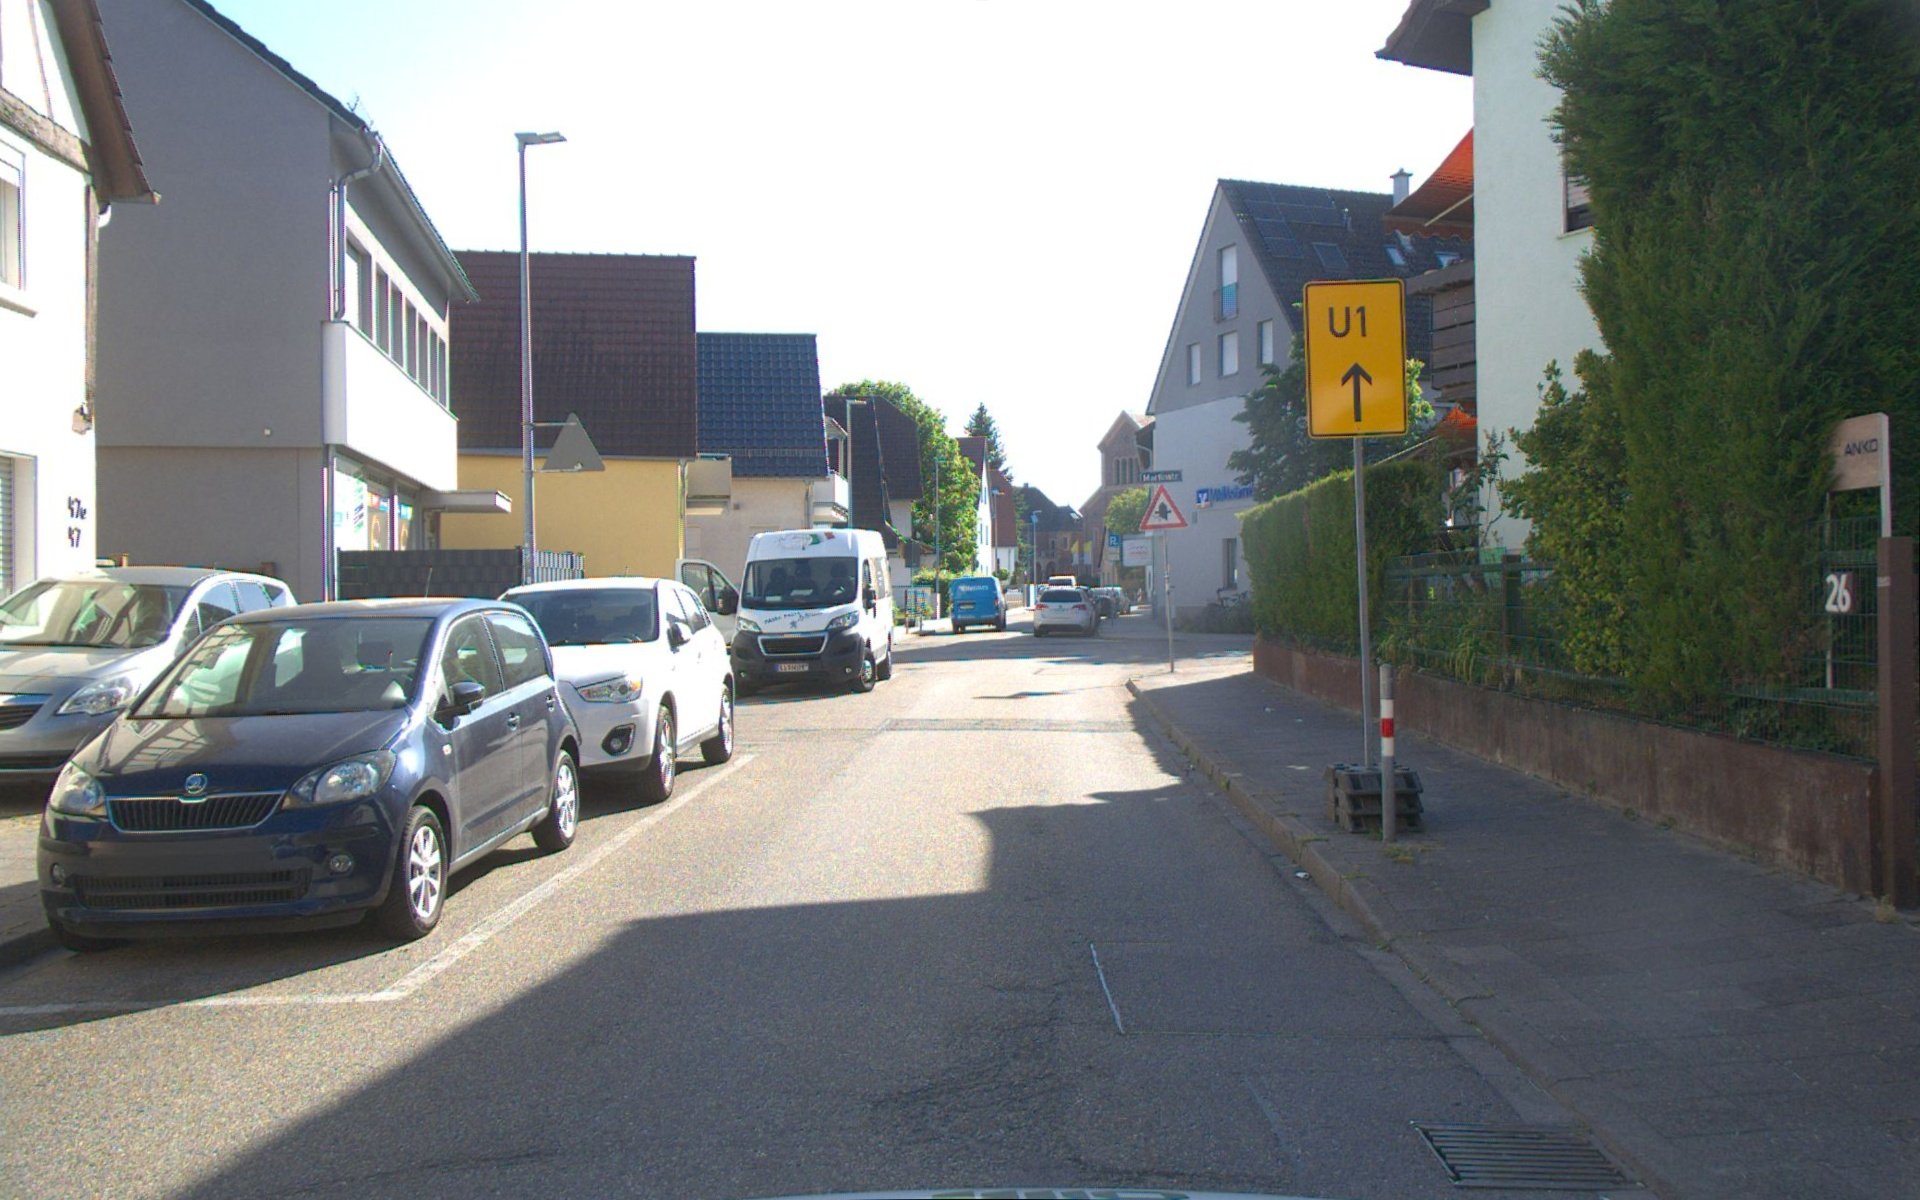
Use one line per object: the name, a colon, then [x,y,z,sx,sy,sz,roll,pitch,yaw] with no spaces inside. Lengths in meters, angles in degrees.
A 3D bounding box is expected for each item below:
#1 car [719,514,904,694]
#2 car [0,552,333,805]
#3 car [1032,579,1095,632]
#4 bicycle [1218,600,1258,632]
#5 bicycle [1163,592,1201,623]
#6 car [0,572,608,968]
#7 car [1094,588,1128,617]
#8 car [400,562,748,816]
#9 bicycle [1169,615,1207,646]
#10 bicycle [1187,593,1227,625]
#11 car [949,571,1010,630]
car: [-2.215,0.030,26.396,2.206,2.513,5.518,-2,0,2]
car: [-6.273,0.491,12.647,1.609,1.614,4.109,-1,0,-4]
car: [3.269,0.124,51.507,1.807,1.540,4.509,-1,1,5]
bicycle: [8.353,0.475,49.784,1.138,0.936,0.313,-2,0,3]
bicycle: [6.939,0.247,51.617,1.138,0.936,0.313,-1,0,13]
car: [-3.044,0.662,8.439,1.621,1.533,3.684,-2,0,1]
car: [8.160,0.104,89.086,1.773,1.501,4.663,0,1,6]
car: [-2.833,0.574,13.070,1.687,1.646,4.112,-2,0,1]
bicycle: [7.177,0.963,52.093,1.138,0.936,0.313,-1,0,13]
bicycle: [7.812,0.292,52.399,1.196,0.992,0.320,-1,0,19]
car: [0.755,-0.012,59.723,1.862,1.951,5.072,-2,0,4]
